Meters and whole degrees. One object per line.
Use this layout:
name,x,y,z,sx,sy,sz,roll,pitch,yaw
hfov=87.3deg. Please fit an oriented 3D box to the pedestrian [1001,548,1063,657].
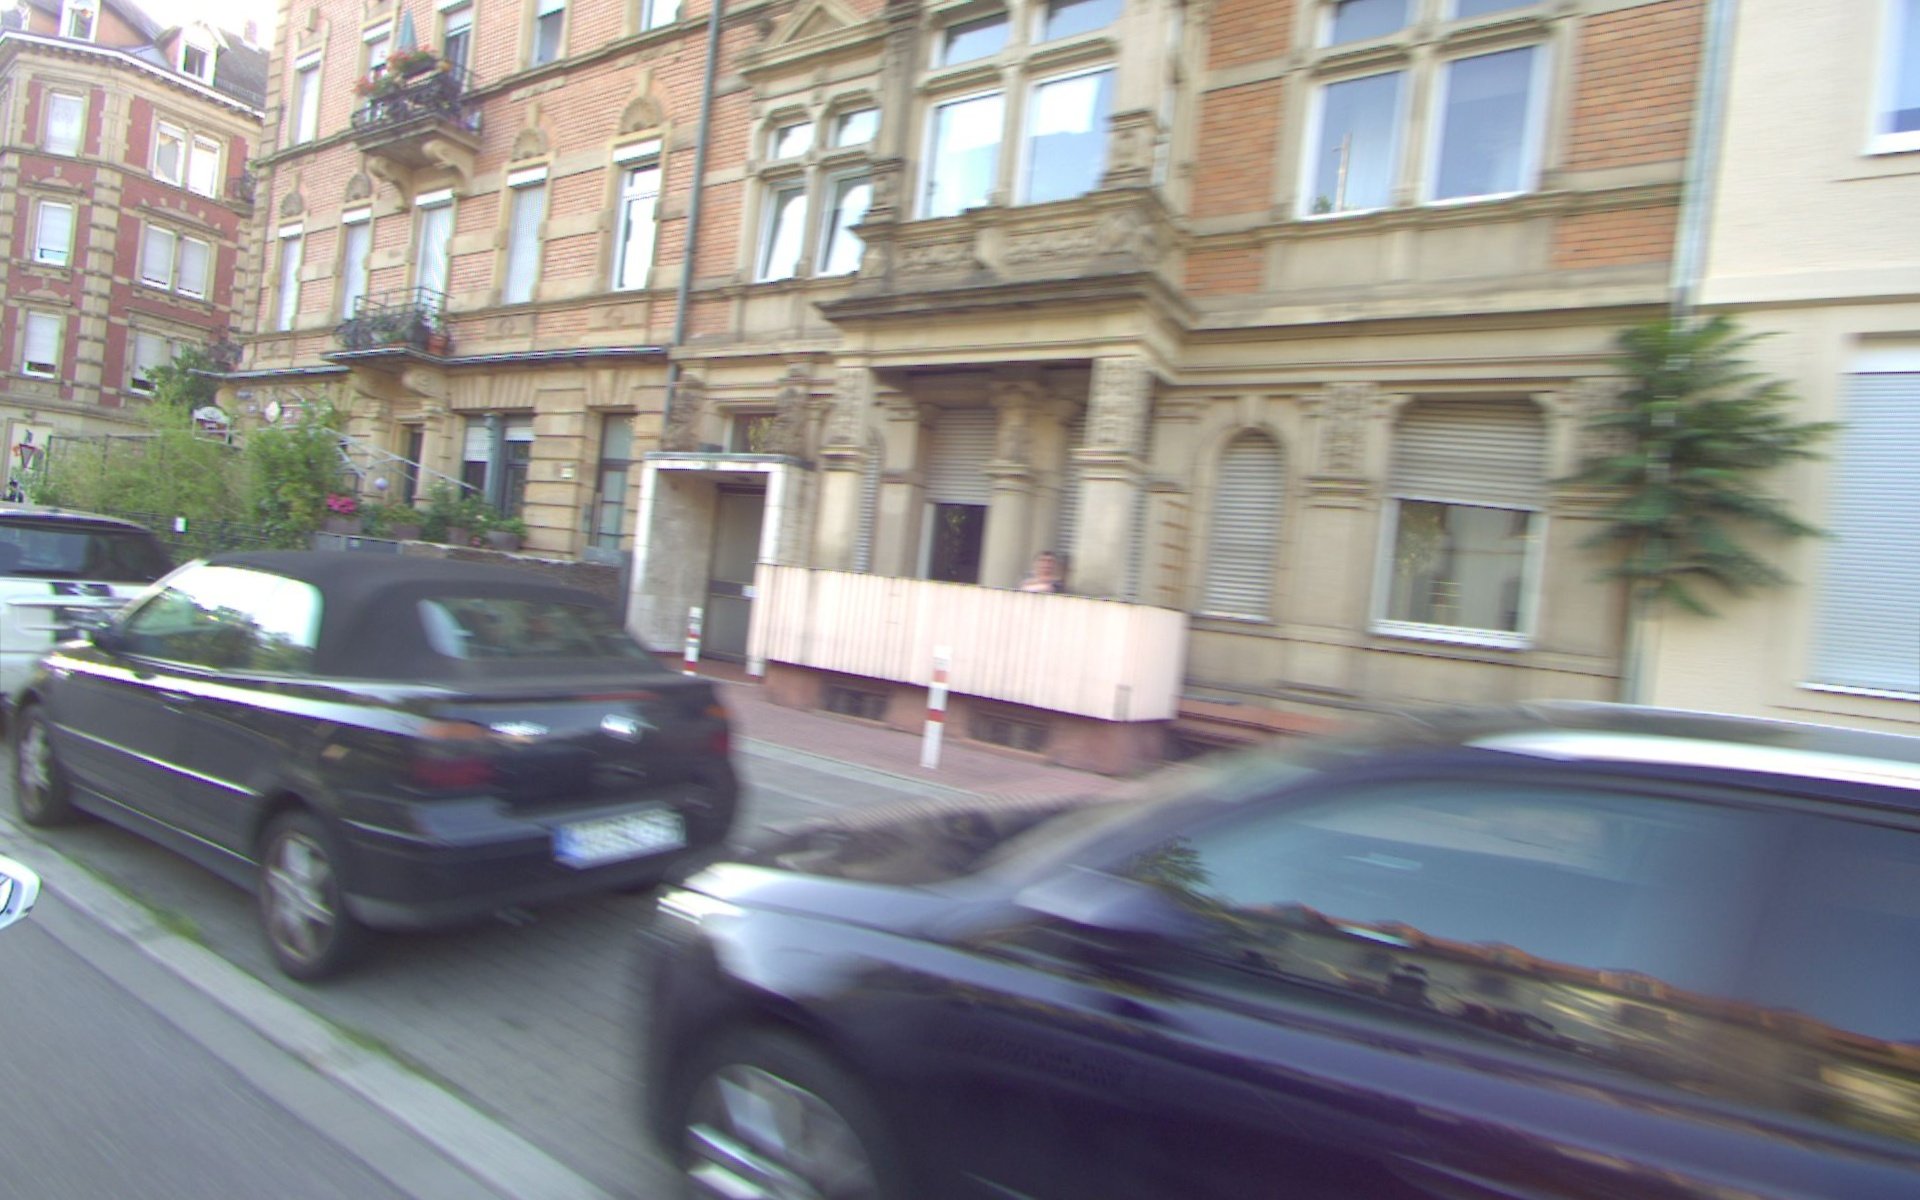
pedestrian,0.736,0.025,10.256,0.398,1.041,0.318,8,-1,-26

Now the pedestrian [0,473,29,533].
pedestrian,-29.956,-3.055,31.665,0.818,1.803,0.745,7,3,33

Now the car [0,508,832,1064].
car,-2.922,0.454,4.841,4.270,1.446,1.887,6,3,32

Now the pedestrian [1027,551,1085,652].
pedestrian,0.884,0.017,9.268,0.306,0.880,0.318,8,-1,-26

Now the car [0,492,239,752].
car,-6.827,-0.017,6.927,3.615,1.446,1.677,6,3,30

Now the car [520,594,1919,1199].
car,1.324,0.942,2.111,4.389,1.467,1.887,6,3,31

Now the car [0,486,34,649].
car,-10.554,-0.467,9.603,3.489,1.485,1.725,7,3,33
